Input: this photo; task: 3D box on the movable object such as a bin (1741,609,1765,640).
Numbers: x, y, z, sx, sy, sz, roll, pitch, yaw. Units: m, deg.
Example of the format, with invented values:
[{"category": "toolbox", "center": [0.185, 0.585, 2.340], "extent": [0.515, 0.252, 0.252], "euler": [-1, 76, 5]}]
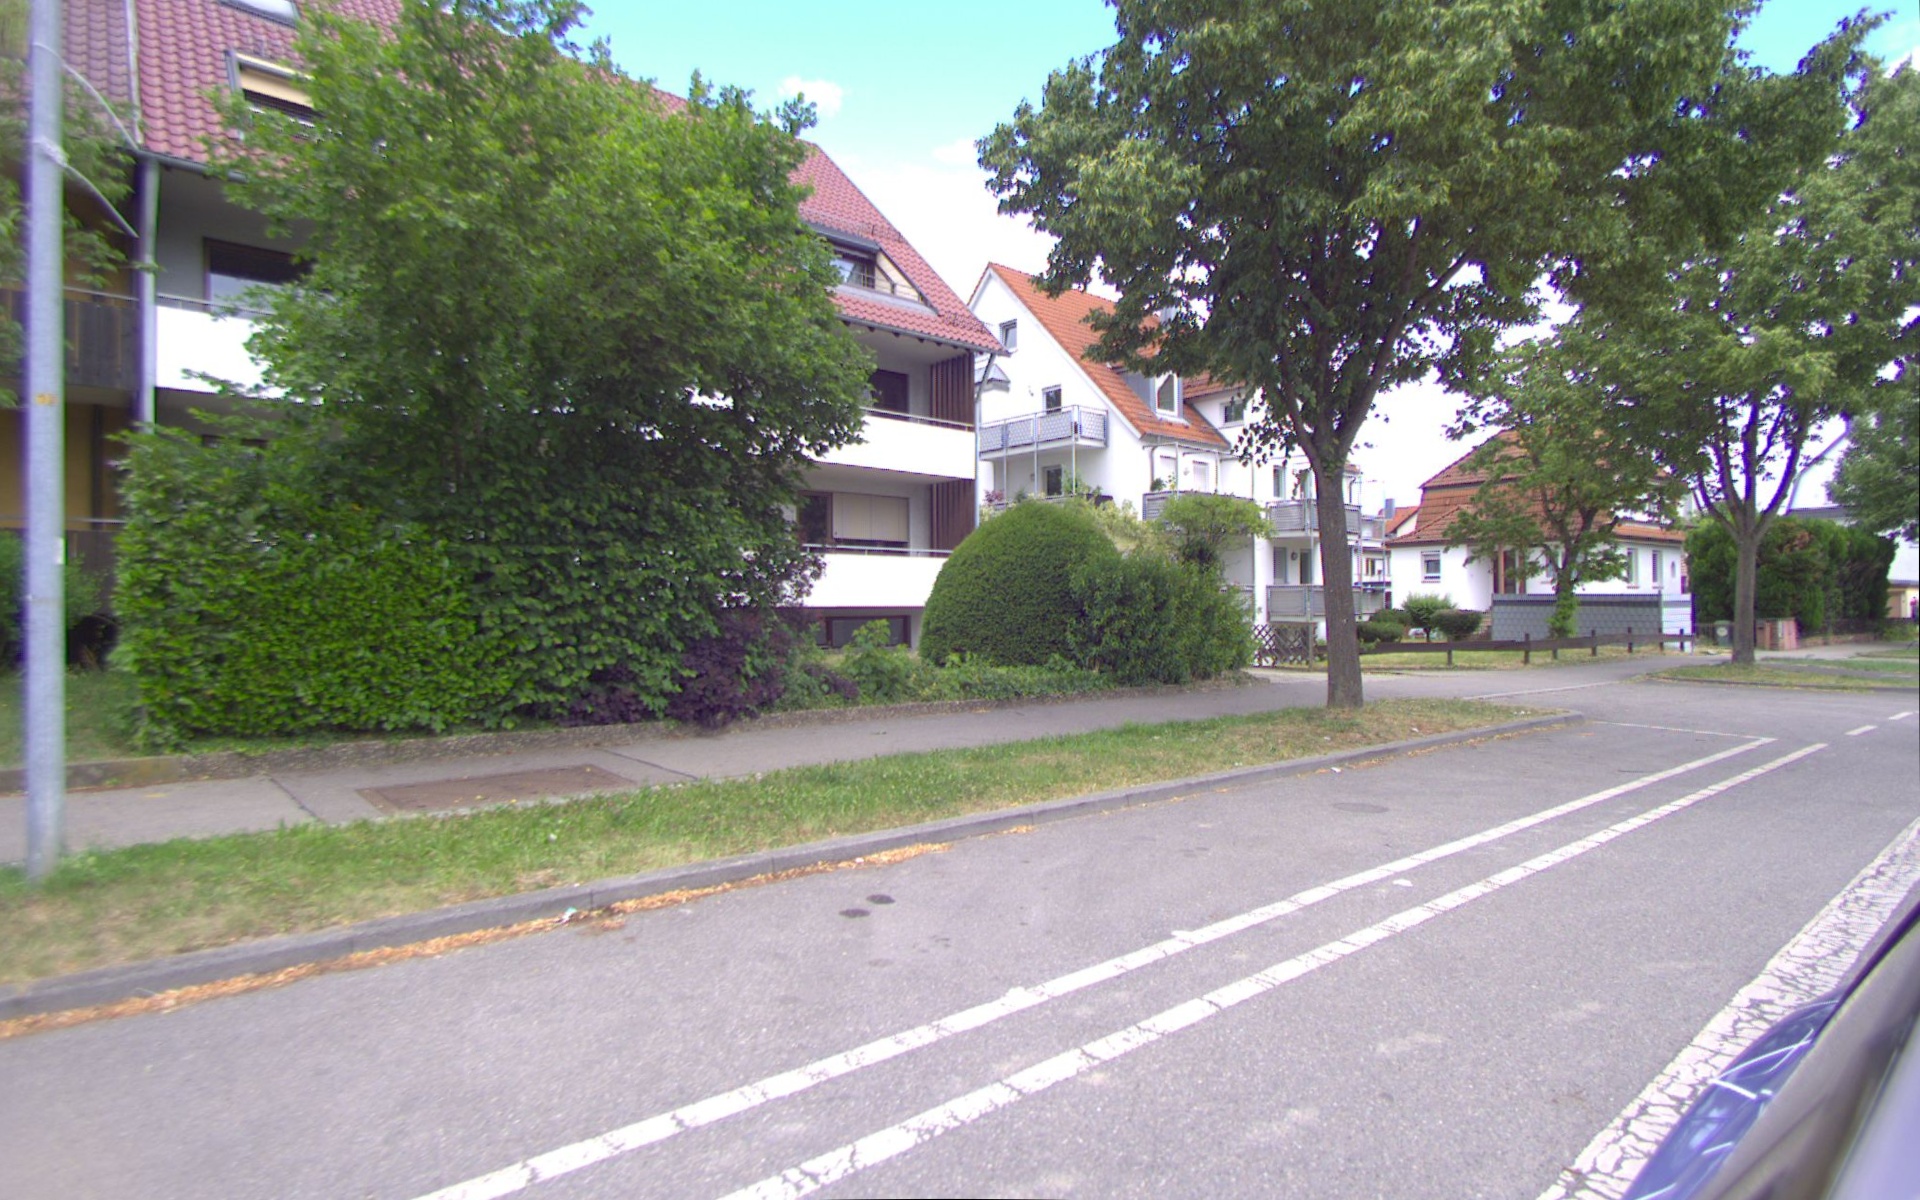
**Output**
[{"category": "movable object such as a bin", "center": [28.220, 0.867, 36.034], "extent": [0.508, 1.058, 0.501], "euler": [1, 0, -25]}]
